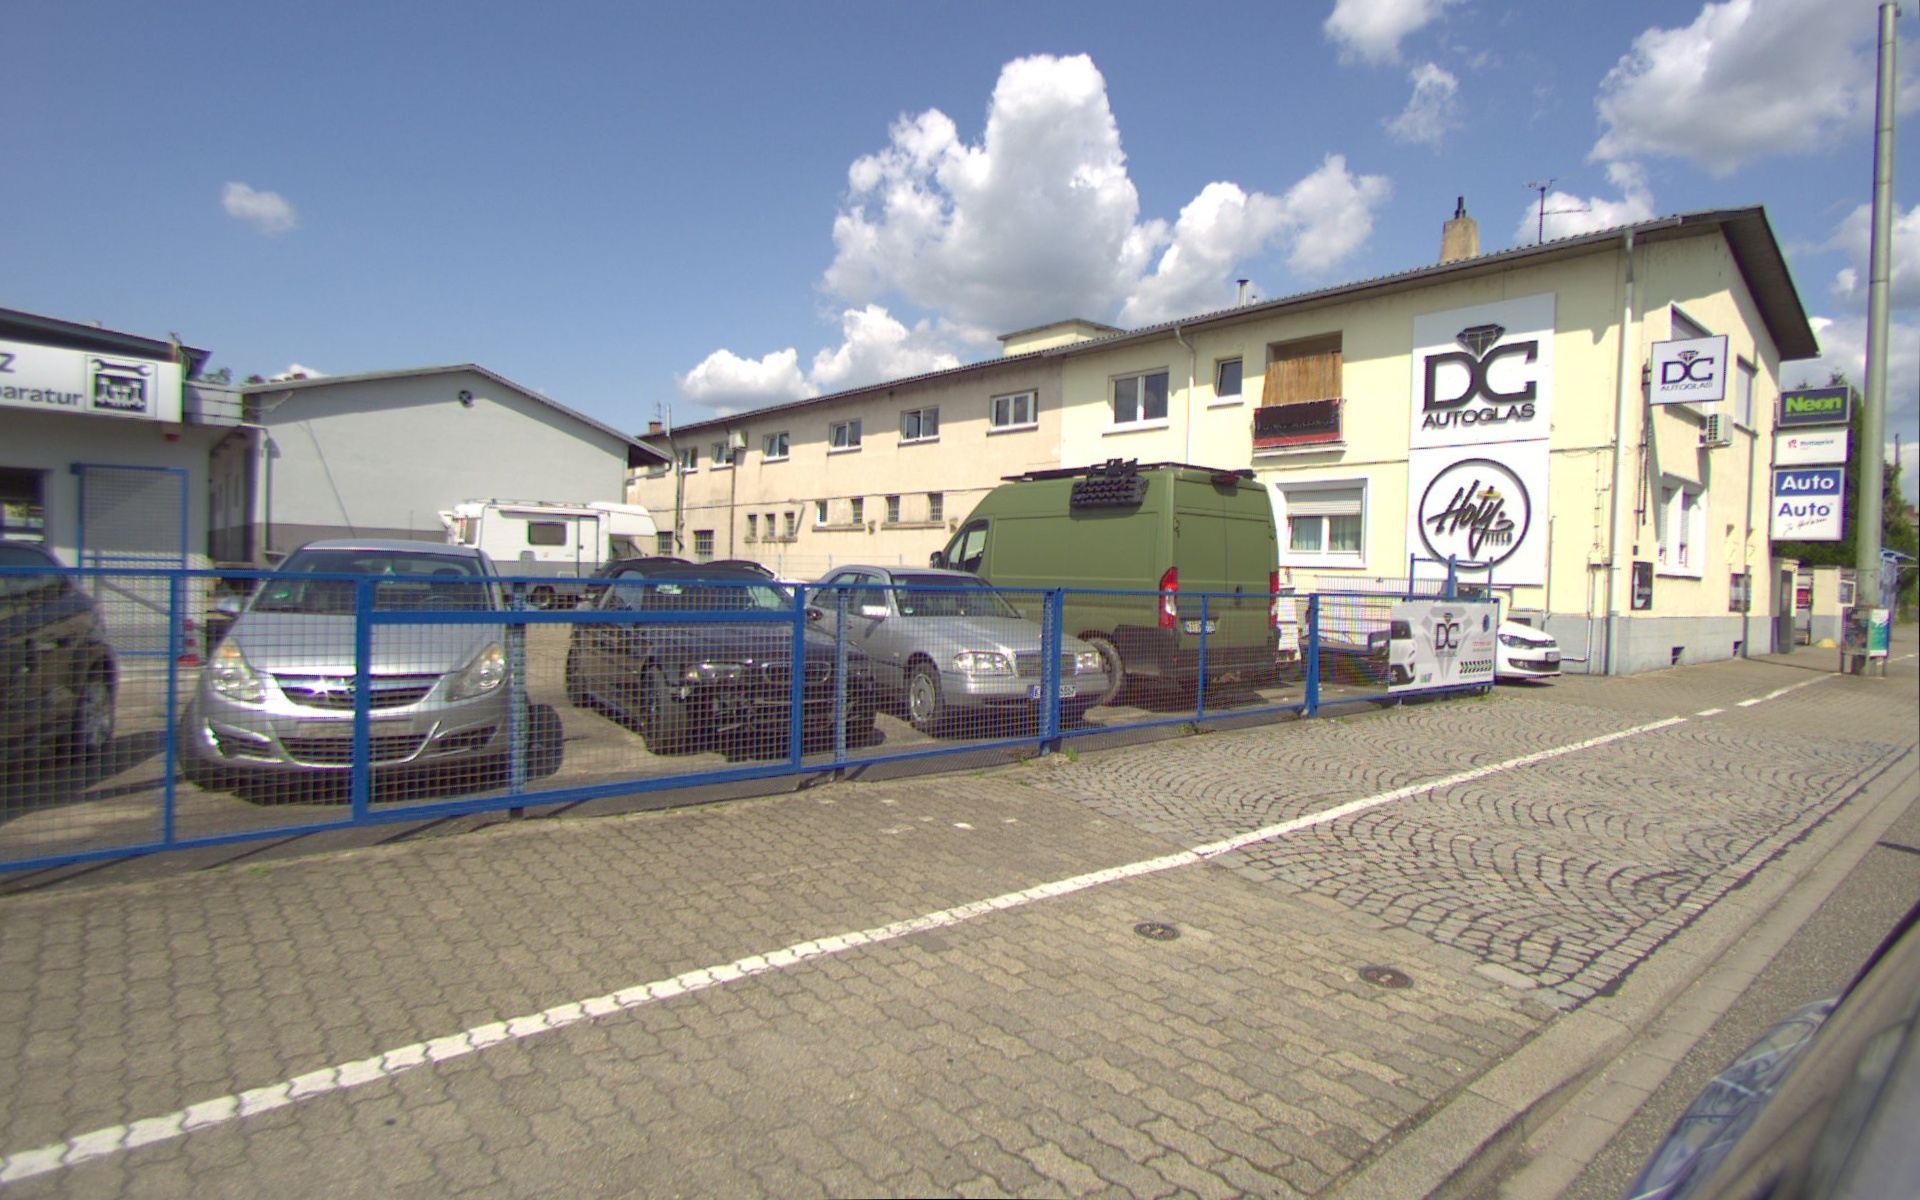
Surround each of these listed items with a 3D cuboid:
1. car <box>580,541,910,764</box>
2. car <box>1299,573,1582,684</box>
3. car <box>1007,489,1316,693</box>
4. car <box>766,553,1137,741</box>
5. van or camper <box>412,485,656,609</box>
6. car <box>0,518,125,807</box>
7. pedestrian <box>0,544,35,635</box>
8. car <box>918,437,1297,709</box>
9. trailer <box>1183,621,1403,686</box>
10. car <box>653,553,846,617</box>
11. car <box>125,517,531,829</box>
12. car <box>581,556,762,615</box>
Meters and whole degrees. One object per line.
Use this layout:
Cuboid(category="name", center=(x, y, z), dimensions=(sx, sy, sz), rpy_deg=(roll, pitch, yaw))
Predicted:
Cuboid(category="car", center=(-2.120, 0.279, 8.892), dimensions=(1.737, 1.470, 4.128), rpy_deg=(1, 2, -28))
Cuboid(category="car", center=(7.543, 0.366, 16.173), dimensions=(1.527, 1.481, 3.775), rpy_deg=(1, 2, -39))
Cuboid(category="car", center=(2.653, -0.185, 14.241), dimensions=(1.557, 2.436, 4.208), rpy_deg=(1, 2, -39))
Cuboid(category="car", center=(-0.331, 0.292, 10.197), dimensions=(1.679, 1.470, 4.292), rpy_deg=(1, 2, -33))
Cuboid(category="van or camper", center=(-11.295, -1.320, 27.106), dimensions=(5.556, 3.002, 2.272), rpy_deg=(0, 2, -42))
Cuboid(category="car", center=(-5.632, 0.309, 4.862), dimensions=(1.606, 1.470, 3.701), rpy_deg=(1, 2, -25))
Cuboid(category="pedestrian", center=(-13.153, -0.152, 13.876), dimensions=(0.652, 1.224, 0.566), rpy_deg=(1, 1, -39))
Cuboid(category="car", center=(1.596, -0.345, 12.250), dimensions=(2.075, 2.675, 4.208), rpy_deg=(1, 2, -39))
Cuboid(category="trailer", center=(4.757, 0.729, 14.645), dimensions=(1.307, 0.674, 2.730), rpy_deg=(0, 2, -42))
Cuboid(category="car", center=(-4.835, -0.344, 23.542), dimensions=(4.112, 1.378, 1.645), rpy_deg=(0, 2, -41))
Cuboid(category="car", center=(-3.891, 0.286, 6.835), dimensions=(1.736, 1.470, 3.778), rpy_deg=(1, 2, -24))
Cuboid(category="car", center=(-7.298, -0.354, 25.805), dimensions=(4.112, 1.378, 1.645), rpy_deg=(0, 2, -41))
